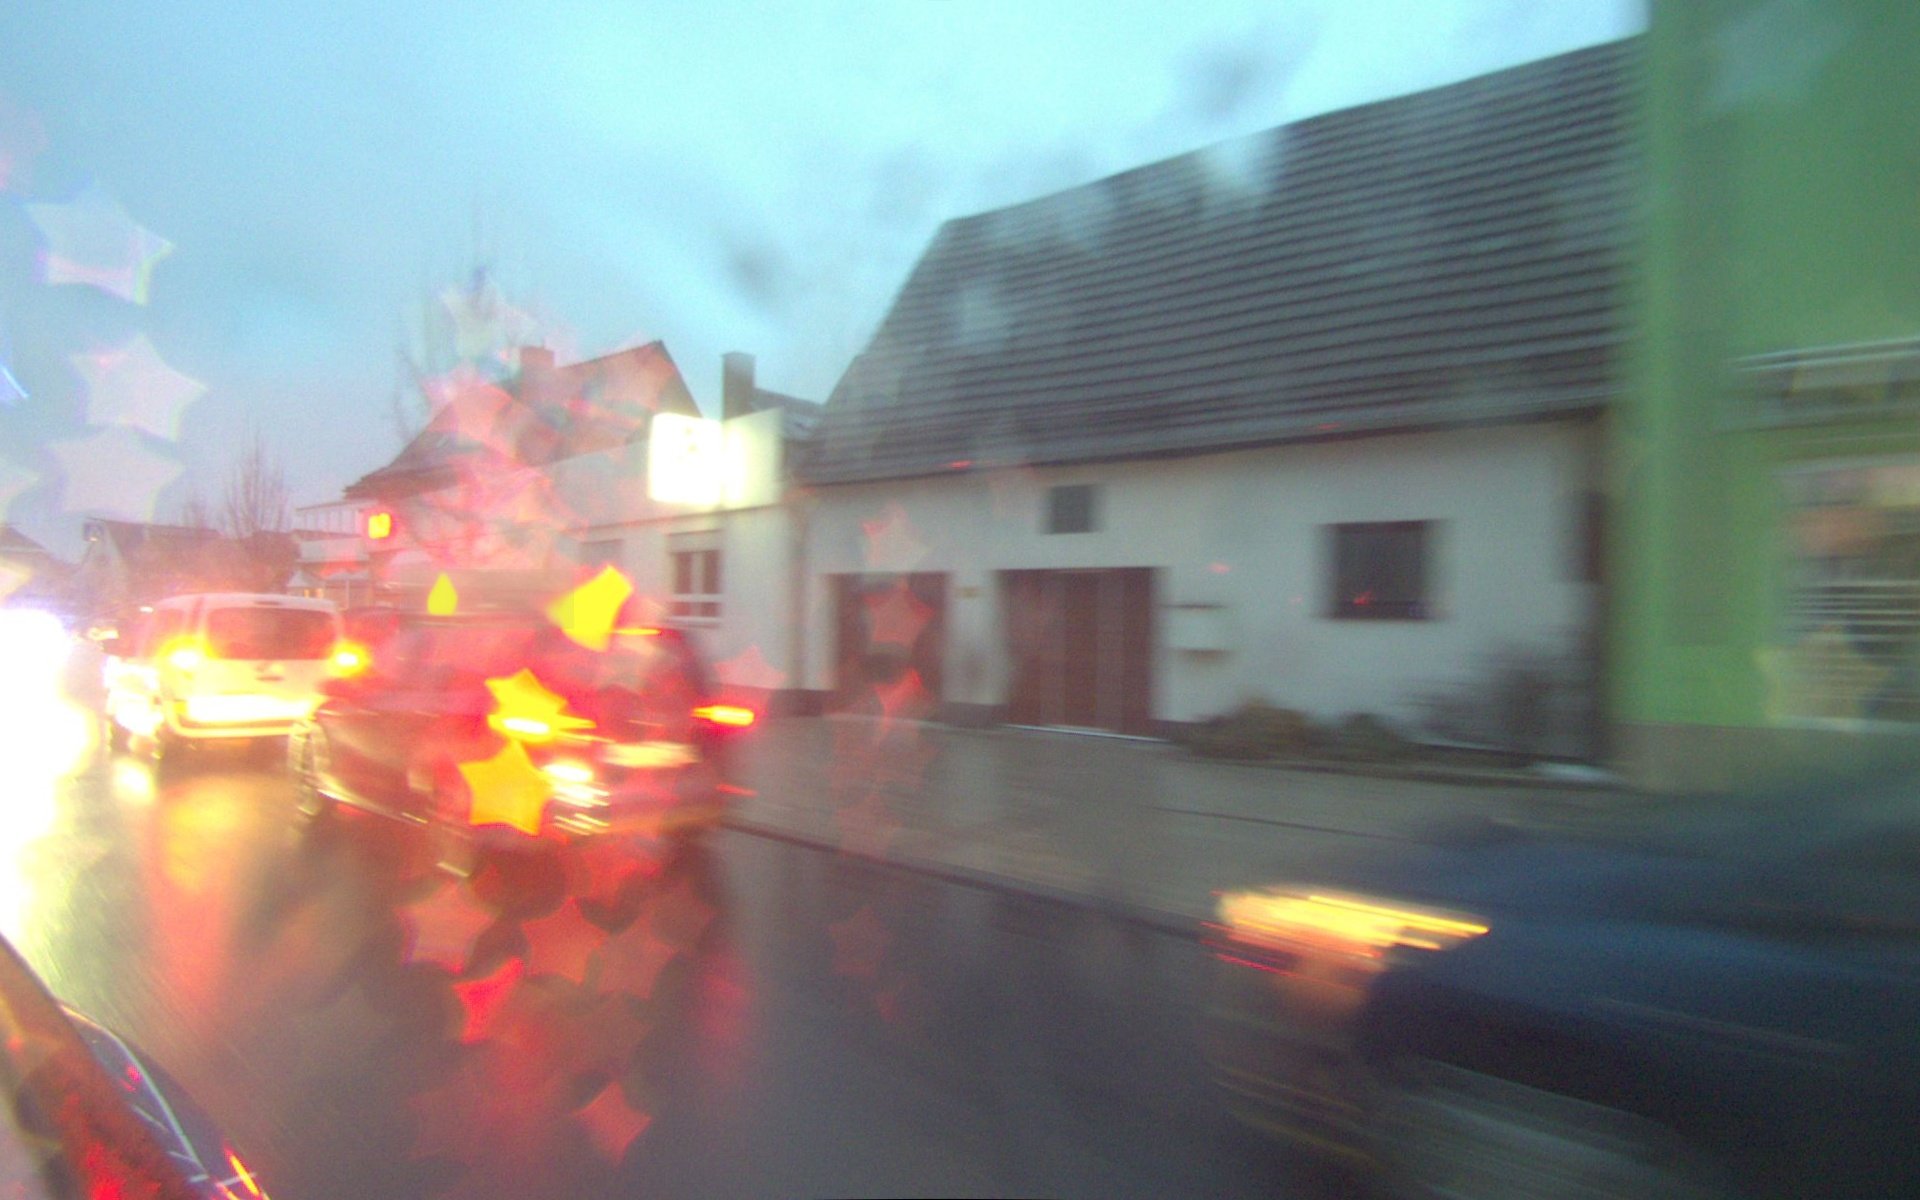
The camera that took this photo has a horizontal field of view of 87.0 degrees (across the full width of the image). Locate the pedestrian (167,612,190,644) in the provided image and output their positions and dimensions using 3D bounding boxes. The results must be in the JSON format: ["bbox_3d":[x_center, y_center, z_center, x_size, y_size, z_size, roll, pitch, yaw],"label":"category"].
[{"bbox_3d":[-49.602,1.784,64.225,0.791,2.029,0.890,-1,-4,43],"label":"pedestrian"}]

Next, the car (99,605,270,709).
[{"bbox_3d":[-15.120,1.074,19.616,4.969,1.719,1.971,-3,-1,45],"label":"car"}]

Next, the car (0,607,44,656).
[{"bbox_3d":[-40.565,1.328,43.106,4.000,2.029,1.972,-1,-1,43],"label":"car"}]

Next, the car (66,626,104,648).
[{"bbox_3d":[-65.685,2.785,75.954,4.140,1.546,1.815,-1,-1,44],"label":"car"}]

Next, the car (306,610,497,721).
[{"bbox_3d":[-10.173,1.066,18.255,1.858,1.723,4.716,0,-1,-44],"label":"car"}]

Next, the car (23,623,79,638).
[{"bbox_3d":[-87.457,2.910,97.386,3.937,1.309,2.003,0,-1,-41],"label":"car"}]

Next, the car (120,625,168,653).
[{"bbox_3d":[-47.810,2.273,59.267,4.184,1.500,1.764,-1,-1,45],"label":"car"}]

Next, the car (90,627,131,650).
[{"bbox_3d":[-56.288,2.515,67.036,4.379,1.442,1.675,-2,-1,45],"label":"car"}]

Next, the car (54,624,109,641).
[{"bbox_3d":[-82.222,3.029,94.764,3.783,1.557,2.004,0,-1,-38],"label":"car"}]

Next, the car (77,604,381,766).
[{"bbox_3d":[-8.730,1.002,11.953,4.413,1.559,1.931,-5,-6,41],"label":"car"}]

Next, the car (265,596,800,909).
[{"bbox_3d":[-3.237,0.837,7.219,4.257,1.567,1.837,-1,-4,42],"label":"car"}]

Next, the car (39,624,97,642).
[{"bbox_3d":[-84.624,3.109,96.056,3.934,1.559,2.005,0,-1,-36],"label":"car"}]

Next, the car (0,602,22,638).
[{"bbox_3d":[-51.639,1.089,54.050,4.000,1.868,1.972,-1,-1,43],"label":"car"}]

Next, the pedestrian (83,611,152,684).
[{"bbox_3d":[-22.072,1.230,26.528,1.001,1.890,0.940,0,-1,8],"label":"pedestrian"}]

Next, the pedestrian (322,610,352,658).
[{"bbox_3d":[-21.998,1.186,35.718,0.815,1.671,1.100,0,-1,-35],"label":"pedestrian"}]

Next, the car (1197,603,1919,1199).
[{"bbox_3d":[2.864,0.782,1.935,4.253,1.568,1.973,-3,-3,39],"label":"car"}]
